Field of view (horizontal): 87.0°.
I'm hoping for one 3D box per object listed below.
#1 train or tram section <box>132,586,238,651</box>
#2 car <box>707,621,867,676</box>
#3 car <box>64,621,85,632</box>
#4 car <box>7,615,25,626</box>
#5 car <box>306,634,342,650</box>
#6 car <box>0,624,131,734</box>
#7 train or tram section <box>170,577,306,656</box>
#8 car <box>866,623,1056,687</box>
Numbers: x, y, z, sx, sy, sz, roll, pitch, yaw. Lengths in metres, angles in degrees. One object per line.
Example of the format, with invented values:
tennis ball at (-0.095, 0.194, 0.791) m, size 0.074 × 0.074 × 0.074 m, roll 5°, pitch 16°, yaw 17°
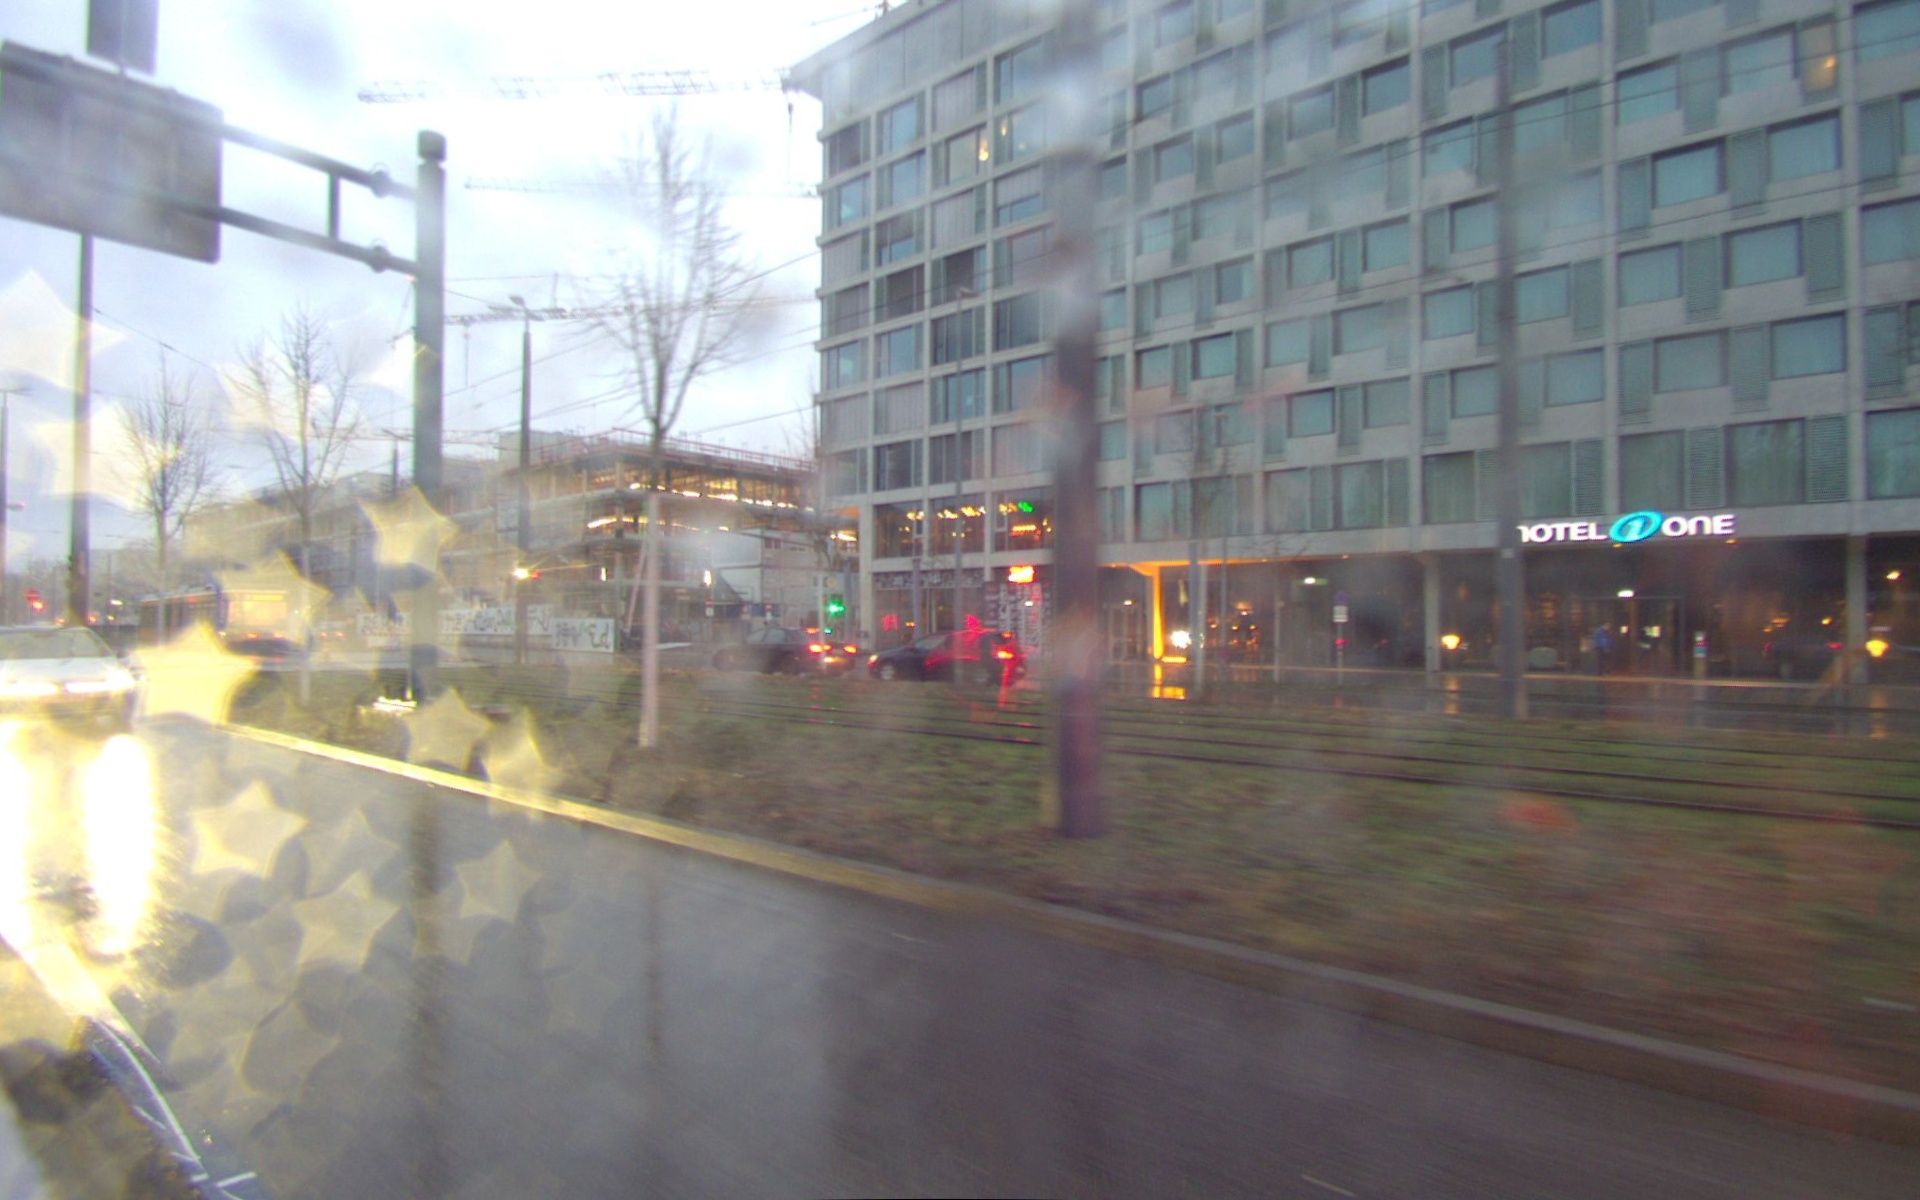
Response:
train or tram section at (-46.780, 1.188, 60.818) m, size 14.321 × 3.513 × 2.924 m, roll -2°, pitch -3°, yaw 44°
car at (-5.192, 1.391, 29.934) m, size 5.032 × 1.479 × 1.972 m, roll -2°, pitch -2°, yaw 42°
car at (-149.734, 4.441, 171.116) m, size 3.995 × 1.837 × 1.974 m, roll -1°, pitch -2°, yaw 39°
car at (-173.256, 3.812, 185.694) m, size 3.998 × 2.029 × 1.973 m, roll -1°, pitch -2°, yaw 41°
car at (-61.724, 4.058, 98.193) m, size 4.001 × 1.577 × 1.971 m, roll -2°, pitch -3°, yaw 44°
car at (-13.569, 1.074, 14.861) m, size 3.983 × 1.381 × 1.743 m, roll -1°, pitch -1°, yaw 44°
train or tram section at (-36.516, 0.919, 50.833) m, size 14.269 × 3.513 × 2.924 m, roll -2°, pitch -3°, yaw 44°
car at (0.013, 1.343, 25.573) m, size 4.425 × 1.508 × 1.983 m, roll -1°, pitch -2°, yaw 26°
